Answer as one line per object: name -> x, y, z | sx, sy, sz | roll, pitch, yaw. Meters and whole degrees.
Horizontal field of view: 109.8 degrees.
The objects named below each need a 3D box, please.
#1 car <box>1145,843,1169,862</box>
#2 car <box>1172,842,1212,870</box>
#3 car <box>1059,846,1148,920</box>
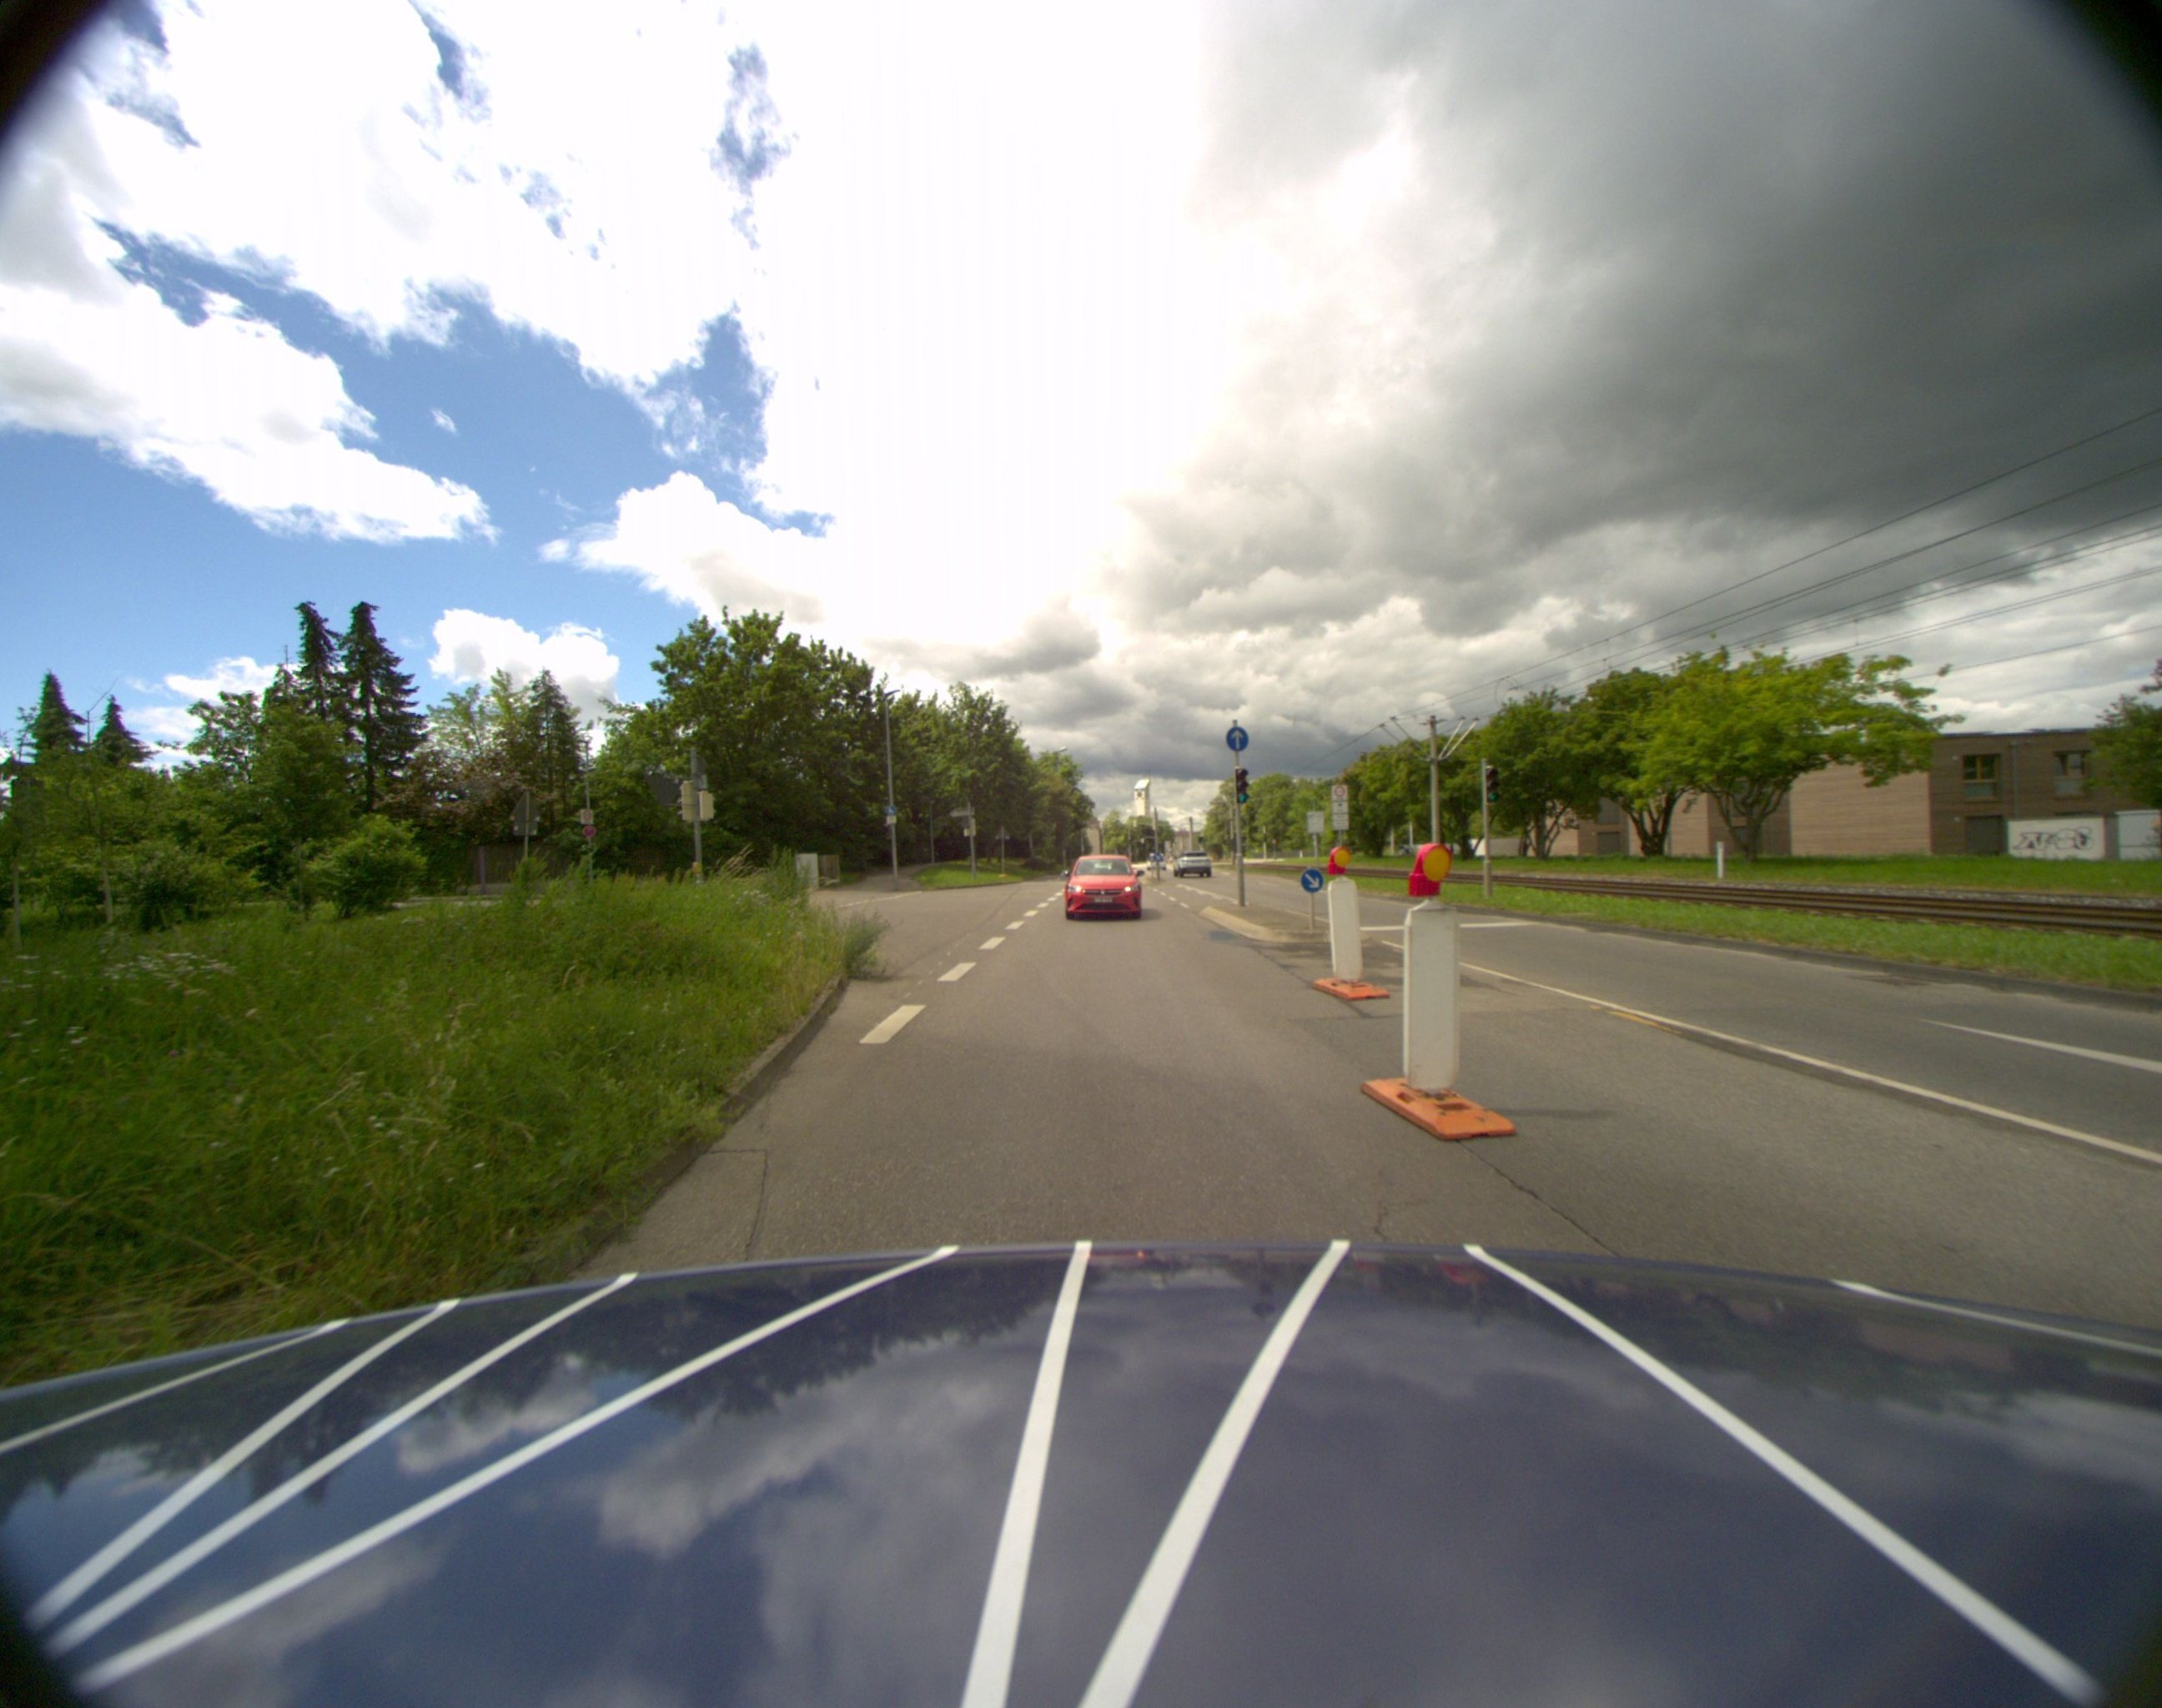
car -> 7.087, -0.174, 70.959 | 1.733, 1.603, 4.262 | -2, 2, -1
car -> 6.776, 0.083, 46.689 | 1.864, 1.601, 4.607 | -1, 1, 2
car -> 0.474, 0.567, 17.722 | 1.790, 1.453, 4.852 | 0, 1, 0
